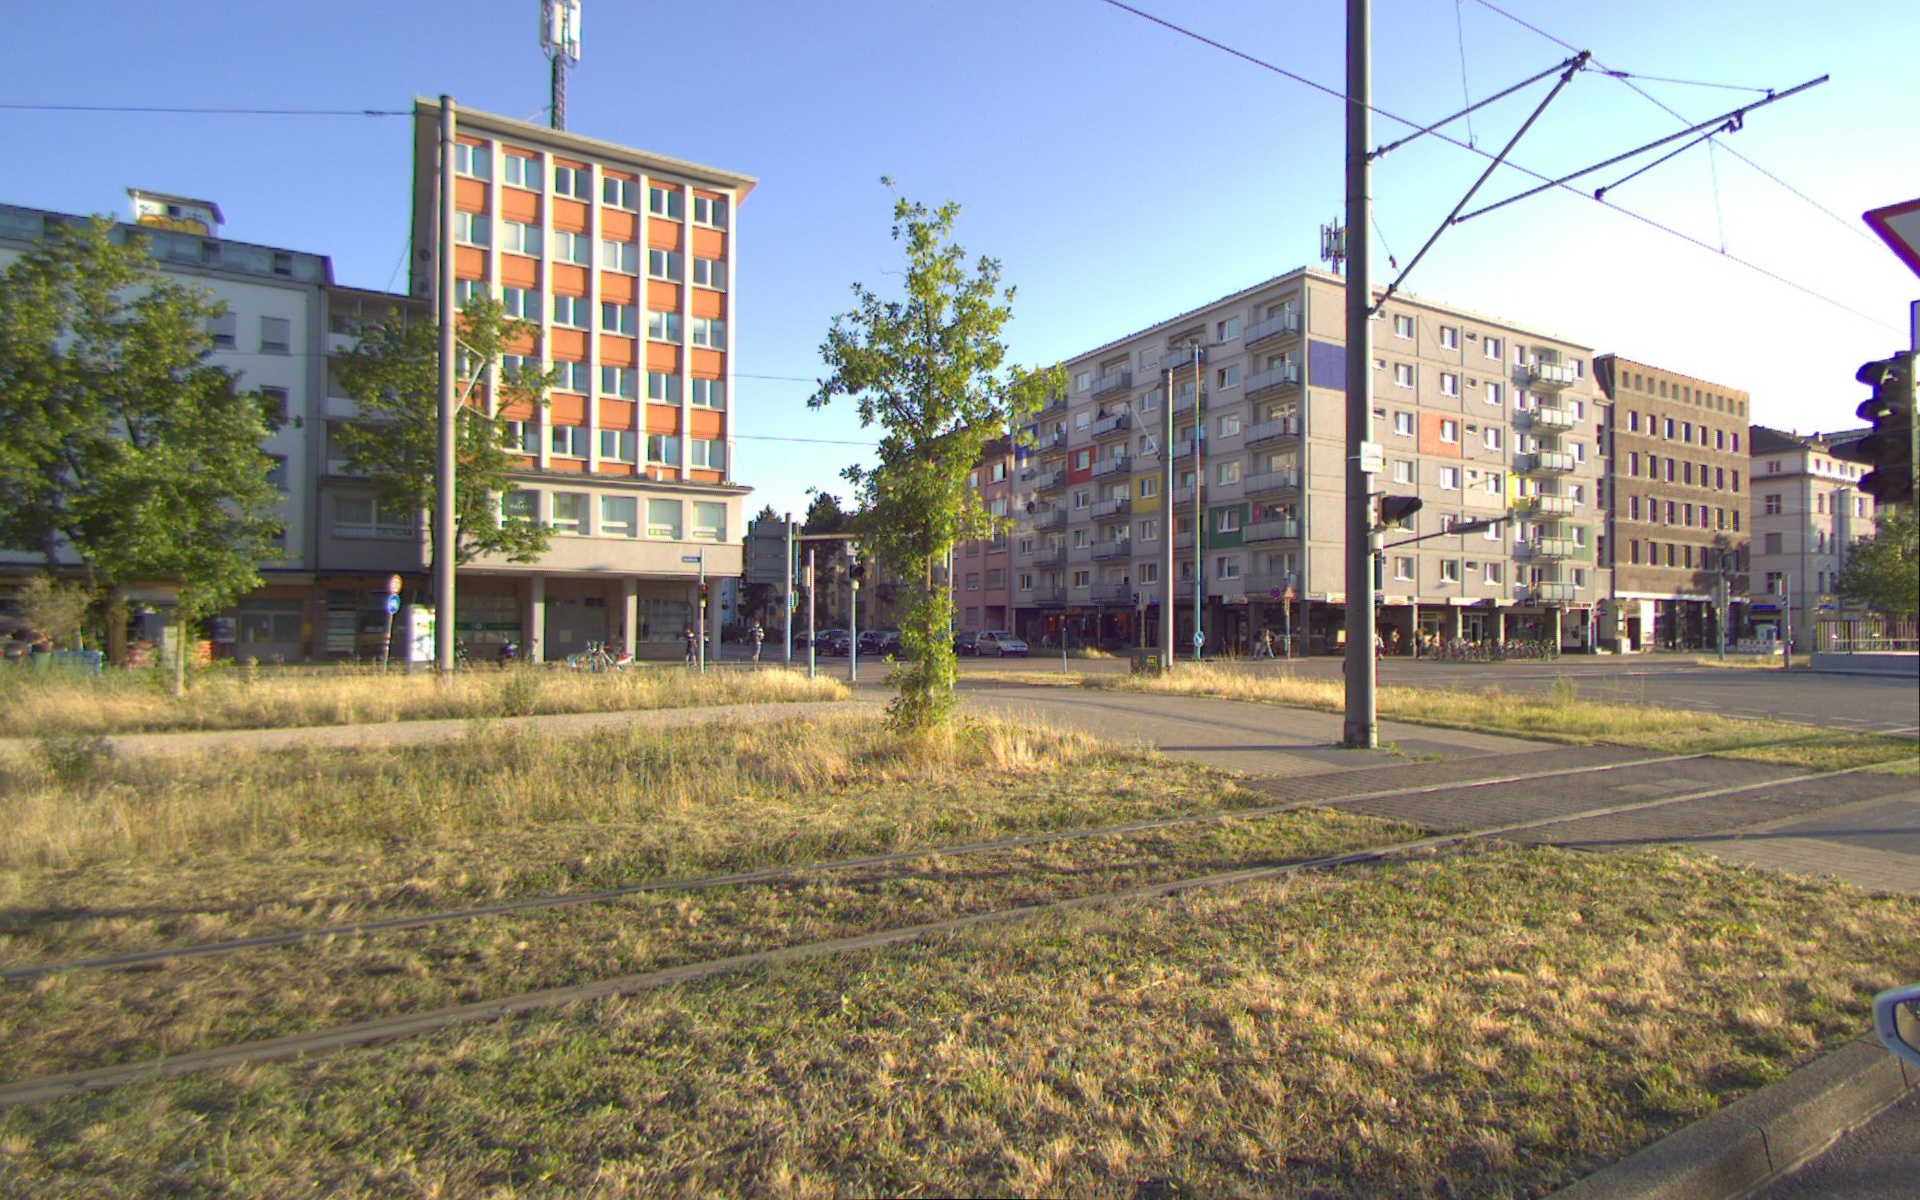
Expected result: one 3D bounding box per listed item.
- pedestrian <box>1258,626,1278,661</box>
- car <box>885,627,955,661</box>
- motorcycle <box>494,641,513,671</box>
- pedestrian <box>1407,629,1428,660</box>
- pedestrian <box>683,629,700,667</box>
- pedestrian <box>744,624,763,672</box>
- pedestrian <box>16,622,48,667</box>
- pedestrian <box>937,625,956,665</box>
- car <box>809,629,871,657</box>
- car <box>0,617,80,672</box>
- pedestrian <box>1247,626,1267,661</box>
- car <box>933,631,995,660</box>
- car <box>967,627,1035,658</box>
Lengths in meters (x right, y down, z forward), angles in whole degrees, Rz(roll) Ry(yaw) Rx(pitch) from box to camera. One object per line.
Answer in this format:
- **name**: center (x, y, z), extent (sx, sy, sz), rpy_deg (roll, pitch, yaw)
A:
- **pedestrian**: center (16.644, 2.328, 54.280), extent (0.812, 1.872, 0.599), rpy_deg (-1, -1, -30)
- **car**: center (-2.124, 2.313, 52.331), extent (1.786, 1.605, 3.840), rpy_deg (0, -3, -35)
- **motorcycle**: center (-17.372, 2.116, 38.212), extent (0.525, 1.082, 1.442), rpy_deg (0, -1, -31)
- **pedestrian**: center (25.655, 2.485, 56.366), extent (0.771, 1.692, 0.737), rpy_deg (-1, -1, -22)
- **pedestrian**: center (-11.870, 2.099, 44.416), extent (0.608, 1.651, 0.512), rpy_deg (-1, -1, -30)
- **pedestrian**: center (-7.871, 1.820, 38.297), extent (0.638, 1.786, 0.721), rpy_deg (-1, -1, -9)
- **pedestrian**: center (-32.882, 1.568, 35.602), extent (0.723, 1.548, 0.687), rpy_deg (0, -1, -33)
- **pedestrian**: center (-0.642, 2.169, 48.363), extent (0.673, 1.872, 0.630), rpy_deg (-1, -1, -30)
- **car**: center (-7.404, 2.633, 61.640), extent (1.969, 1.606, 4.252), rpy_deg (0, -1, -35)
- **car**: center (-28.750, 1.318, 29.390), extent (4.213, 1.547, 1.758), rpy_deg (-1, -1, -8)
- **pedestrian**: center (16.249, 2.378, 54.935), extent (0.728, 1.876, 0.701), rpy_deg (-1, -1, -30)
- **car**: center (0.191, 2.647, 59.425), extent (1.786, 1.606, 3.839), rpy_deg (0, -1, -35)
- **car**: center (2.248, 2.339, 55.413), extent (1.786, 1.606, 3.839), rpy_deg (0, -1, -35)
